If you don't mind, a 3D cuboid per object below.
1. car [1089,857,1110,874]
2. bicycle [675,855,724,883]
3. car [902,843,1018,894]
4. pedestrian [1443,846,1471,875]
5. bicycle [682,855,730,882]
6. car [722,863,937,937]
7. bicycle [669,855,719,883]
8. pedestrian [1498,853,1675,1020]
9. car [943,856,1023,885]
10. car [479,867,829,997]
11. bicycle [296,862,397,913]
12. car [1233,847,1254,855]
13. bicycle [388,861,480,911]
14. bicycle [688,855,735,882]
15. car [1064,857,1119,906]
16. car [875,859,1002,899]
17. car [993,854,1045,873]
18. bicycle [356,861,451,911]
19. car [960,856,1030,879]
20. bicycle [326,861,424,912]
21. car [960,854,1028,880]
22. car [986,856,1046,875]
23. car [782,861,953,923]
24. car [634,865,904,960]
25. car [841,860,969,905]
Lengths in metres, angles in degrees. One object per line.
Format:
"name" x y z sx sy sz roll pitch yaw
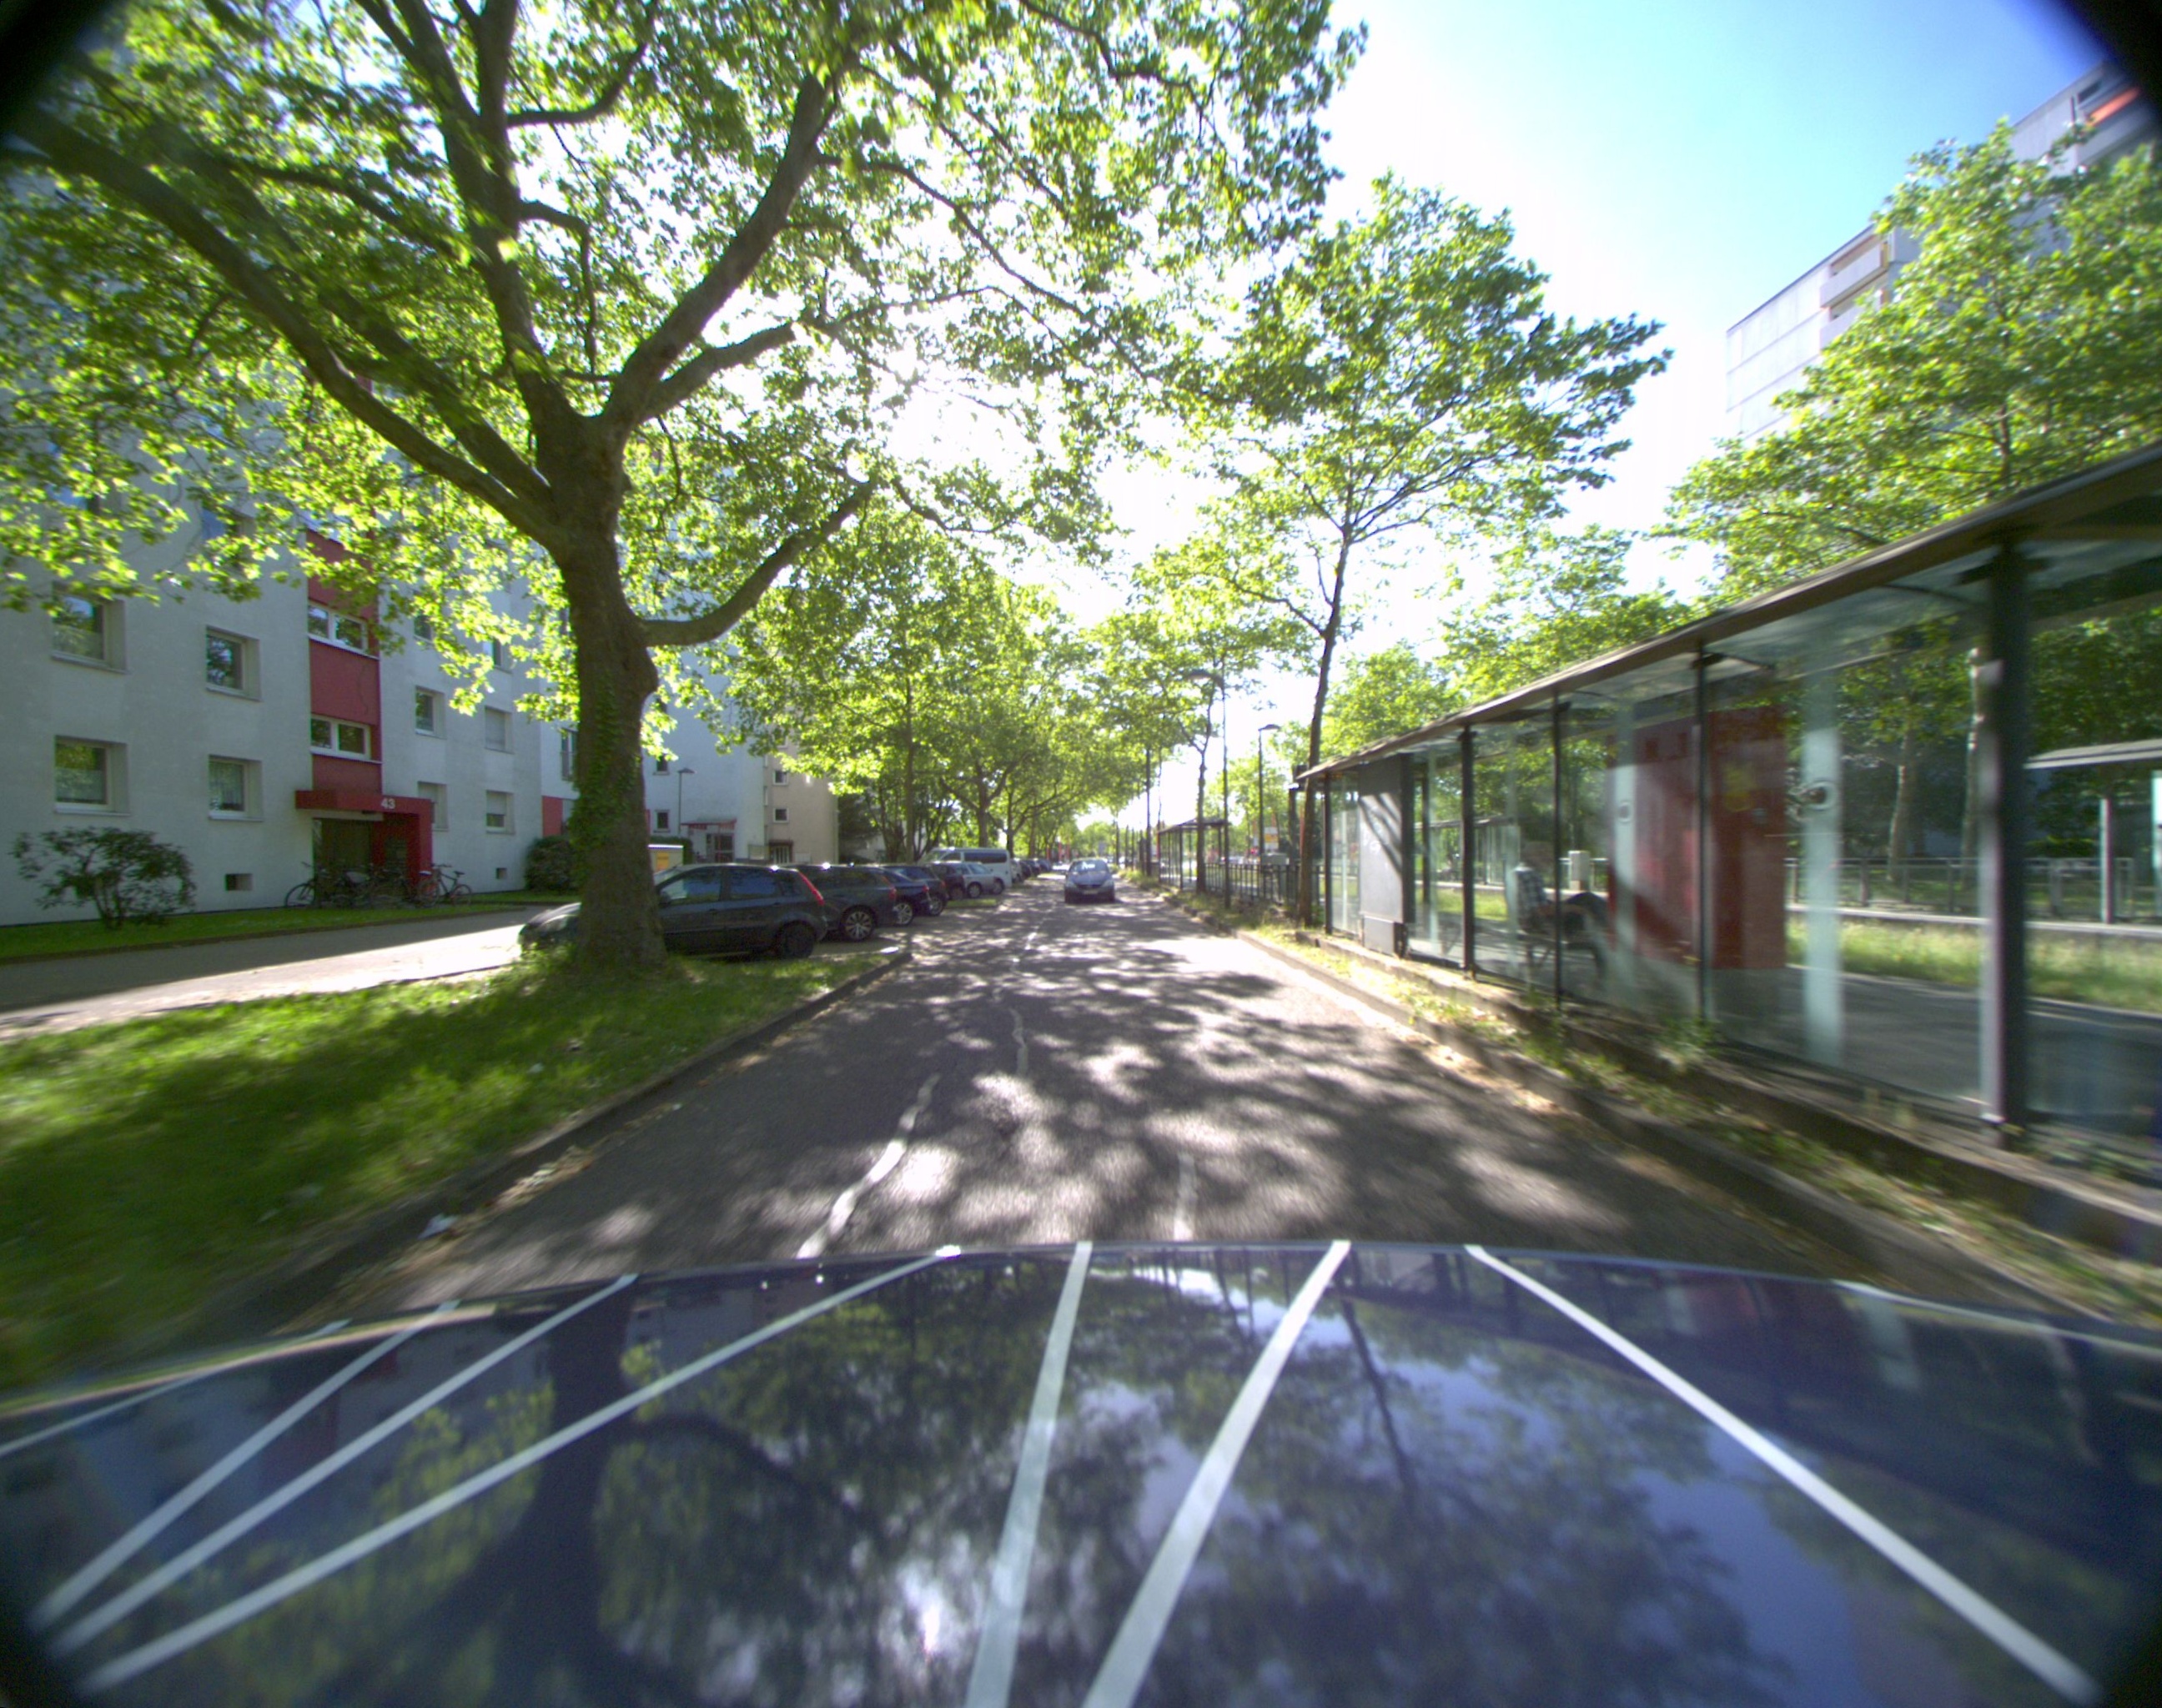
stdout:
"car" 1.697 1.082 70.836 1.799 1.529 4.000 0 0 -1
"bicycle" -16.567 0.644 33.014 1.799 1.123 0.500 2 0 -4
"car" -5.274 0.622 33.315 4.600 2.040 2.011 1 0 -39
"pedestrian" 16.101 0.270 32.574 0.768 1.176 0.763 -3 0 1
"bicycle" -16.593 0.642 33.615 1.799 1.123 0.550 2 0 -4
"car" -5.646 0.969 17.313 4.266 1.453 1.795 1 0 -39
"bicycle" -16.520 0.645 32.465 1.799 1.123 0.500 2 0 -4
"pedestrian" 4.053 0.628 6.168 0.857 1.236 0.850 -2 0 2
"car" -5.470 0.922 42.692 1.794 1.501 4.222 2 0 43
"car" -5.909 0.950 10.820 4.009 1.453 1.794 1 0 -44
"bicycle" -17.222 0.754 17.870 0.591 1.101 1.800 -1 0 0
"car" 34.288 -0.654 160.150 3.990 1.501 1.803 -1 0 27
"bicycle" -15.219 0.728 17.927 0.591 1.101 1.800 -1 0 0
"bicycle" -16.635 0.635 34.193 1.799 1.123 0.500 2 0 -4
"car" 0.380 0.905 26.985 1.799 1.580 3.763 -1 0 1
"car" -5.548 0.944 29.913 4.600 1.415 1.795 1 0 -41
"car" -5.210 0.806 63.953 4.008 1.566 1.795 1 0 -40
"bicycle" -15.865 0.727 17.867 0.591 1.101 1.800 -1 0 0
"car" -5.874 0.932 52.089 4.418 1.420 1.946 1 0 -39
"bicycle" -16.532 0.739 17.847 0.591 1.101 1.800 -1 0 0
"car" -5.586 0.864 48.887 4.009 1.580 1.795 1 0 -42
"car" -5.012 0.872 59.246 4.600 1.414 1.795 1 0 -45
"car" -5.632 0.962 20.337 4.009 1.459 1.777 1 0 -42
"car" -5.661 0.978 14.088 4.266 1.453 1.795 1 0 -40
"car" -6.057 0.948 26.439 3.932 1.408 1.795 1 0 -42
